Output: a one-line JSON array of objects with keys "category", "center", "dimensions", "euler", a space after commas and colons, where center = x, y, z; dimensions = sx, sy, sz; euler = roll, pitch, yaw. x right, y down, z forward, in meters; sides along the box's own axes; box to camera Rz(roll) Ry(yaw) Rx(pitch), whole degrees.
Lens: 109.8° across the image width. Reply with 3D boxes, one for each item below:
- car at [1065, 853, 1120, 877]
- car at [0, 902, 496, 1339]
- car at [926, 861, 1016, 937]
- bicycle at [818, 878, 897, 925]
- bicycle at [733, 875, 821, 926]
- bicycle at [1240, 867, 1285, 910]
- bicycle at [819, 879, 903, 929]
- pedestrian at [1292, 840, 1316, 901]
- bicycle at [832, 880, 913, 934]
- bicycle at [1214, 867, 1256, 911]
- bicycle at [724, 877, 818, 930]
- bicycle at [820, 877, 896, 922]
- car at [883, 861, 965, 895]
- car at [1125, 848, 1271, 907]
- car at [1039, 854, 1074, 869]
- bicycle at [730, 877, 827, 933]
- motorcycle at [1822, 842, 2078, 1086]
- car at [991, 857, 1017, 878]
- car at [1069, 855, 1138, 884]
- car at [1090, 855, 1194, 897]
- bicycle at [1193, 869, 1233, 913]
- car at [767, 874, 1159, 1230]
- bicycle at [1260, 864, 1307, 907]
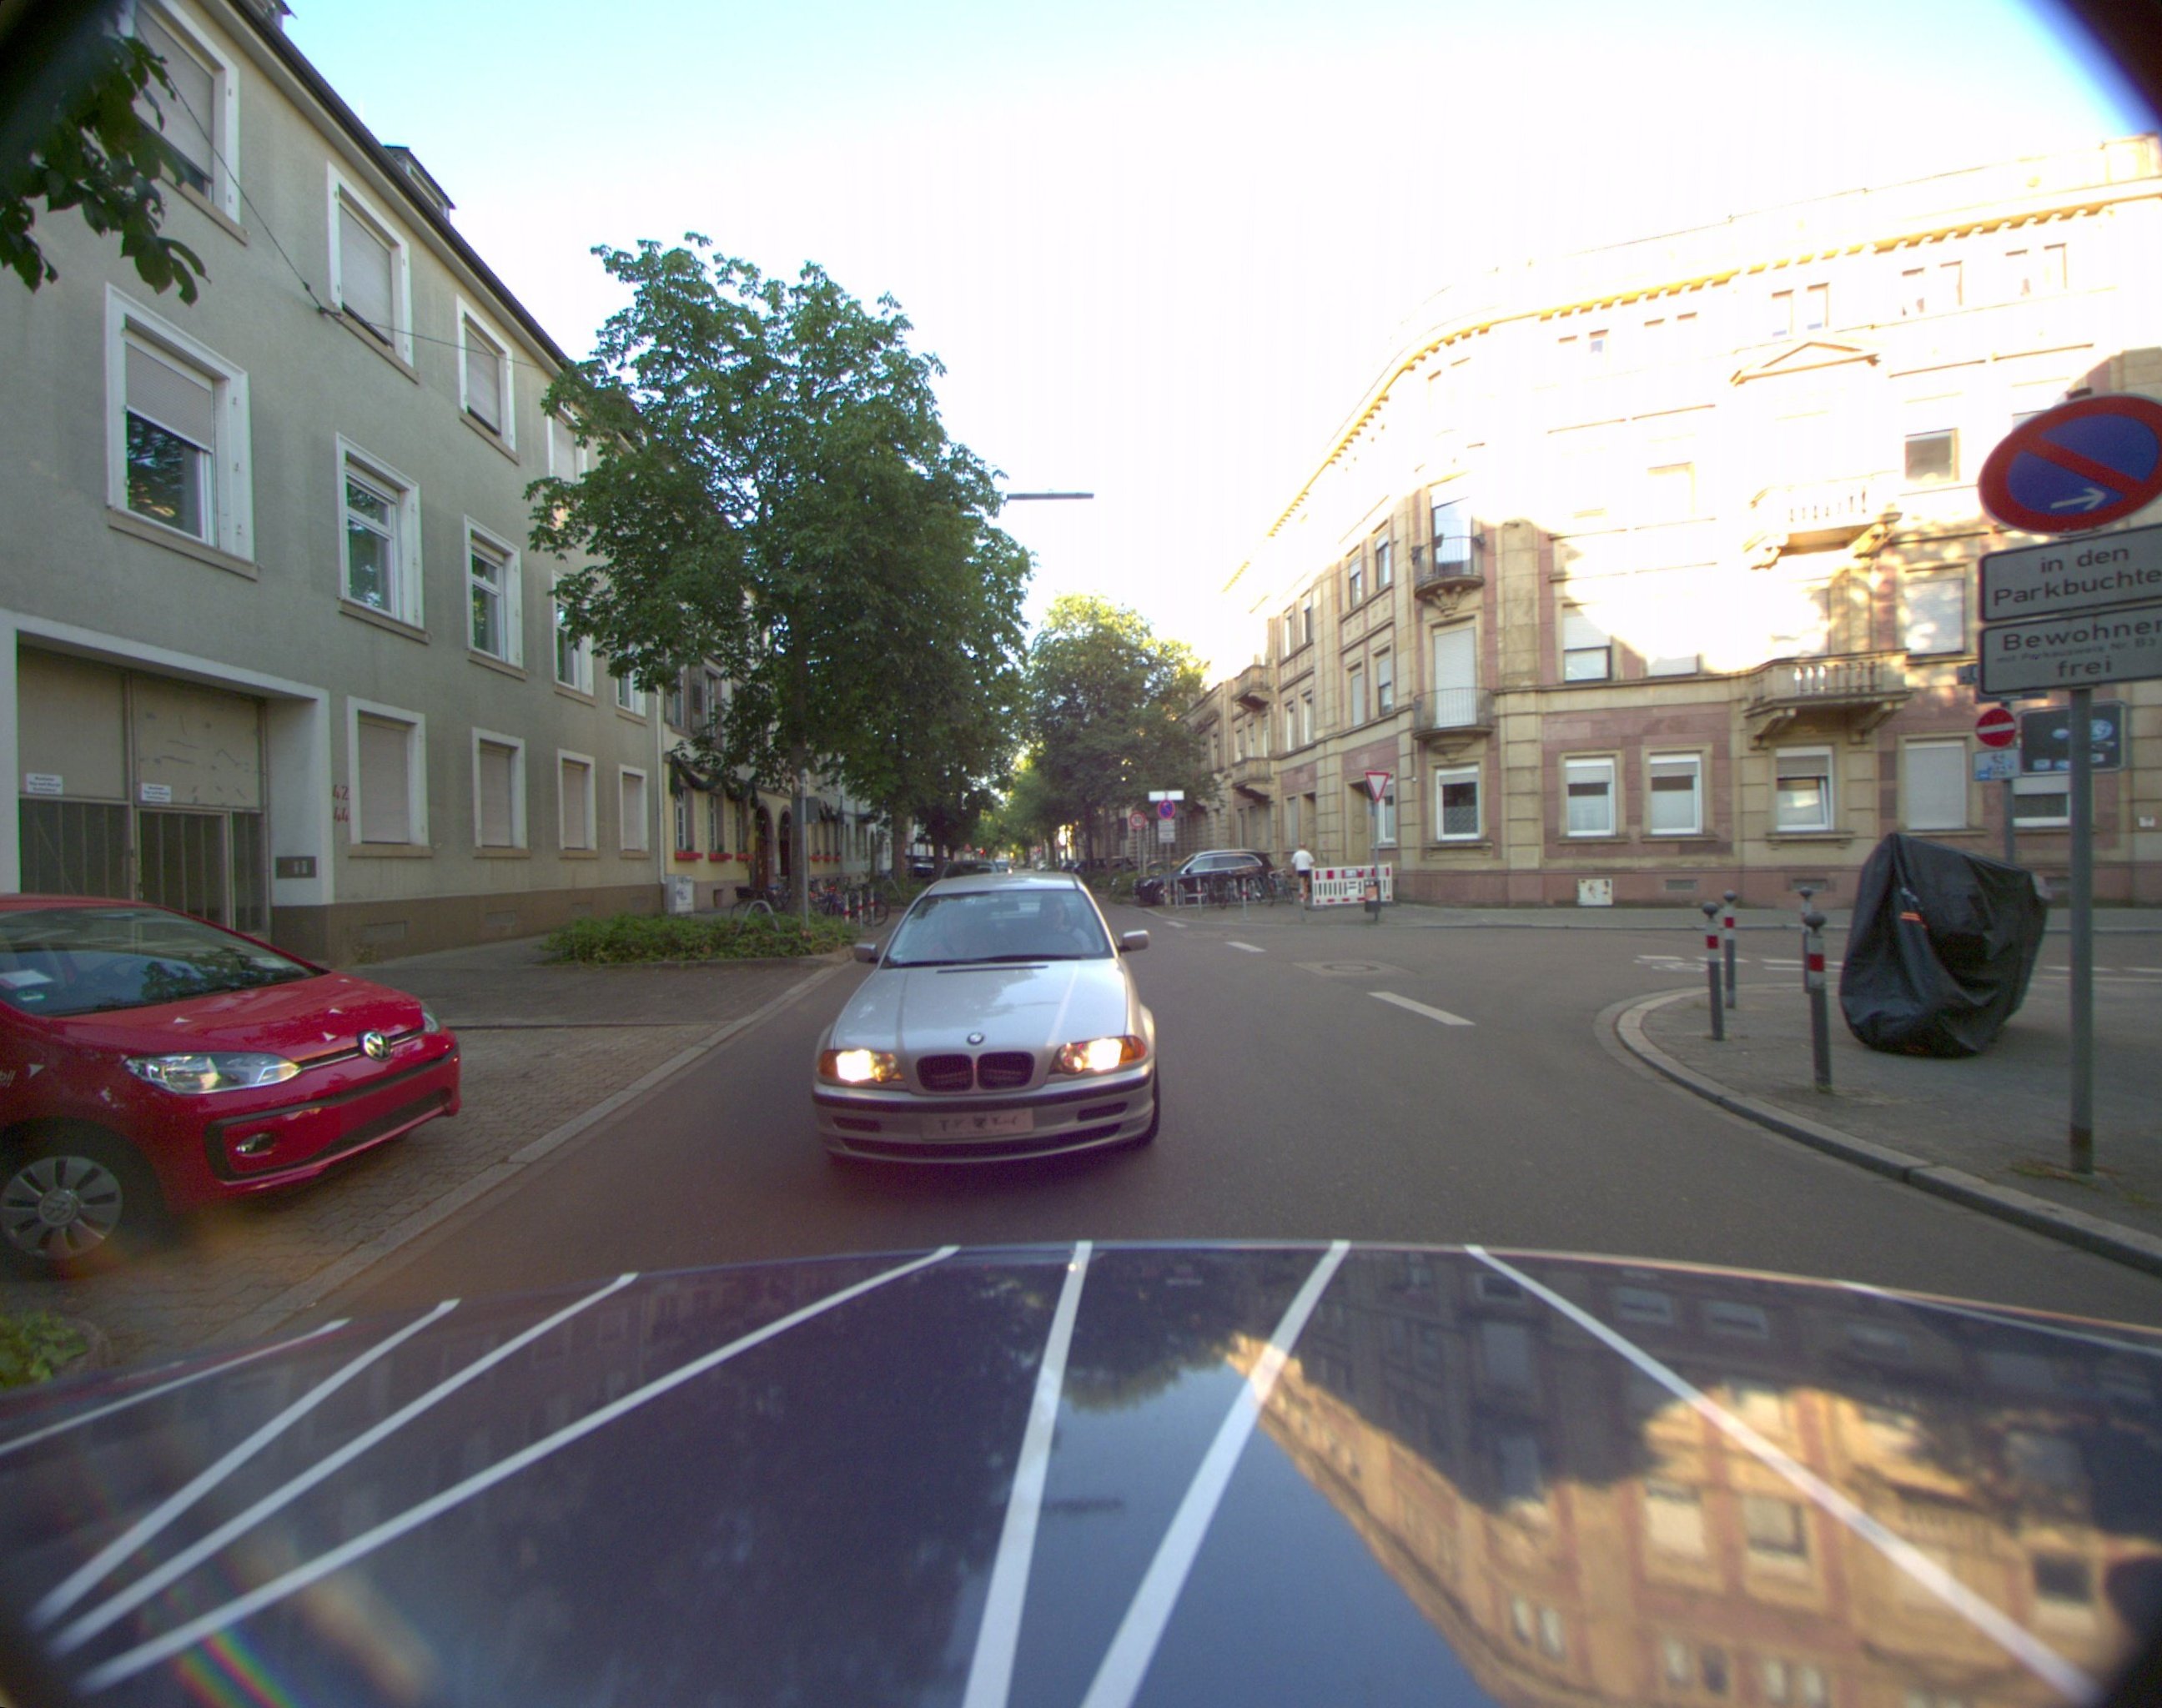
[{"category": "car", "center": [0.862, 0.863, 60.857], "dimensions": [4.245, 1.749, 1.741], "euler": [-1, 0, -4]}, {"category": "car", "center": [-5.171, 1.047, 3.437], "dimensions": [3.621, 1.468, 1.663], "euler": [-1, 0, -7]}, {"category": "car", "center": [-2.511, 0.983, 18.190], "dimensions": [1.806, 1.543, 3.998], "euler": [-1, 0, -4]}, {"category": "bicycle", "center": [-6.132, 1.288, 20.926], "dimensions": [2.029, 1.220, 0.535], "euler": [-1, 0, -11]}, {"category": "bicycle", "center": [-7.819, 1.183, 19.604], "dimensions": [2.029, 1.220, 0.535], "euler": [-1, 0, -13]}, {"category": "bicycle", "center": [5.172, 0.960, 21.775], "dimensions": [0.562, 1.144, 2.038], "euler": [-1, 0, -8]}, {"category": "bicycle", "center": [-5.665, 1.284, 19.645], "dimensions": [2.029, 1.220, 0.535], "euler": [-1, 0, -11]}, {"category": "pedestrian", "center": [6.719, 0.483, 22.910], "dimensions": [0.572, 1.797, 0.651], "euler": [-1, 1, 7]}, {"category": "bicycle", "center": [-5.041, 1.258, 18.405], "dimensions": [1.849, 1.220, 0.535], "euler": [-1, 0, -16]}, {"category": "bicycle", "center": [4.378, 0.982, 21.734], "dimensions": [0.562, 1.144, 2.038], "euler": [-1, 0, -6]}, {"category": "bicycle", "center": [-7.498, 1.183, 18.458], "dimensions": [2.030, 1.220, 0.535], "euler": [-1, 0, -16]}, {"category": "bicycle", "center": [-6.373, 1.287, 21.796], "dimensions": [2.029, 1.220, 0.535], "euler": [-1, 0, -11]}, {"category": "car", "center": [-8.558, 1.274, 41.676], "dimensions": [4.245, 1.729, 1.741], "euler": [-1, 0, -6]}, {"category": "car", "center": [3.721, 0.739, 24.667], "dimensions": [4.423, 1.771, 1.741], "euler": [-1, 0, -2]}, {"category": "car", "center": [-3.018, 0.907, 92.541], "dimensions": [4.245, 1.749, 1.741], "euler": [-1, 0, -4]}, {"category": "bicycle", "center": [-7.038, 1.174, 17.755], "dimensions": [2.030, 1.220, 0.535], "euler": [-1, 0, -16]}, {"category": "motorcycle", "center": [6.491, 0.680, 5.642], "dimensions": [2.286, 1.496, 0.816], "euler": [-1, 1, -30]}, {"category": "car", "center": [-5.974, 1.053, 59.268], "dimensions": [1.806, 1.543, 3.999], "euler": [-1, 0, -3]}, {"category": "car", "center": [1.407, 0.955, 48.386], "dimensions": [4.245, 1.749, 1.741], "euler": [-1, 0, -4]}, {"category": "car", "center": [2.526, 0.895, 32.093], "dimensions": [4.243, 1.668, 1.742], "euler": [-1, 0, -1]}, {"category": "bicycle", "center": [3.740, 1.027, 21.665], "dimensions": [0.562, 1.144, 2.038], "euler": [-1, 0, -6]}, {"category": "car", "center": [-0.495, 0.944, 5.599], "dimensions": [1.711, 1.433, 4.436], "euler": [-1, 0, 1]}, {"category": "bicycle", "center": [5.790, 0.880, 21.825], "dimensions": [0.562, 1.144, 2.038], "euler": [-1, 0, -8]}]
